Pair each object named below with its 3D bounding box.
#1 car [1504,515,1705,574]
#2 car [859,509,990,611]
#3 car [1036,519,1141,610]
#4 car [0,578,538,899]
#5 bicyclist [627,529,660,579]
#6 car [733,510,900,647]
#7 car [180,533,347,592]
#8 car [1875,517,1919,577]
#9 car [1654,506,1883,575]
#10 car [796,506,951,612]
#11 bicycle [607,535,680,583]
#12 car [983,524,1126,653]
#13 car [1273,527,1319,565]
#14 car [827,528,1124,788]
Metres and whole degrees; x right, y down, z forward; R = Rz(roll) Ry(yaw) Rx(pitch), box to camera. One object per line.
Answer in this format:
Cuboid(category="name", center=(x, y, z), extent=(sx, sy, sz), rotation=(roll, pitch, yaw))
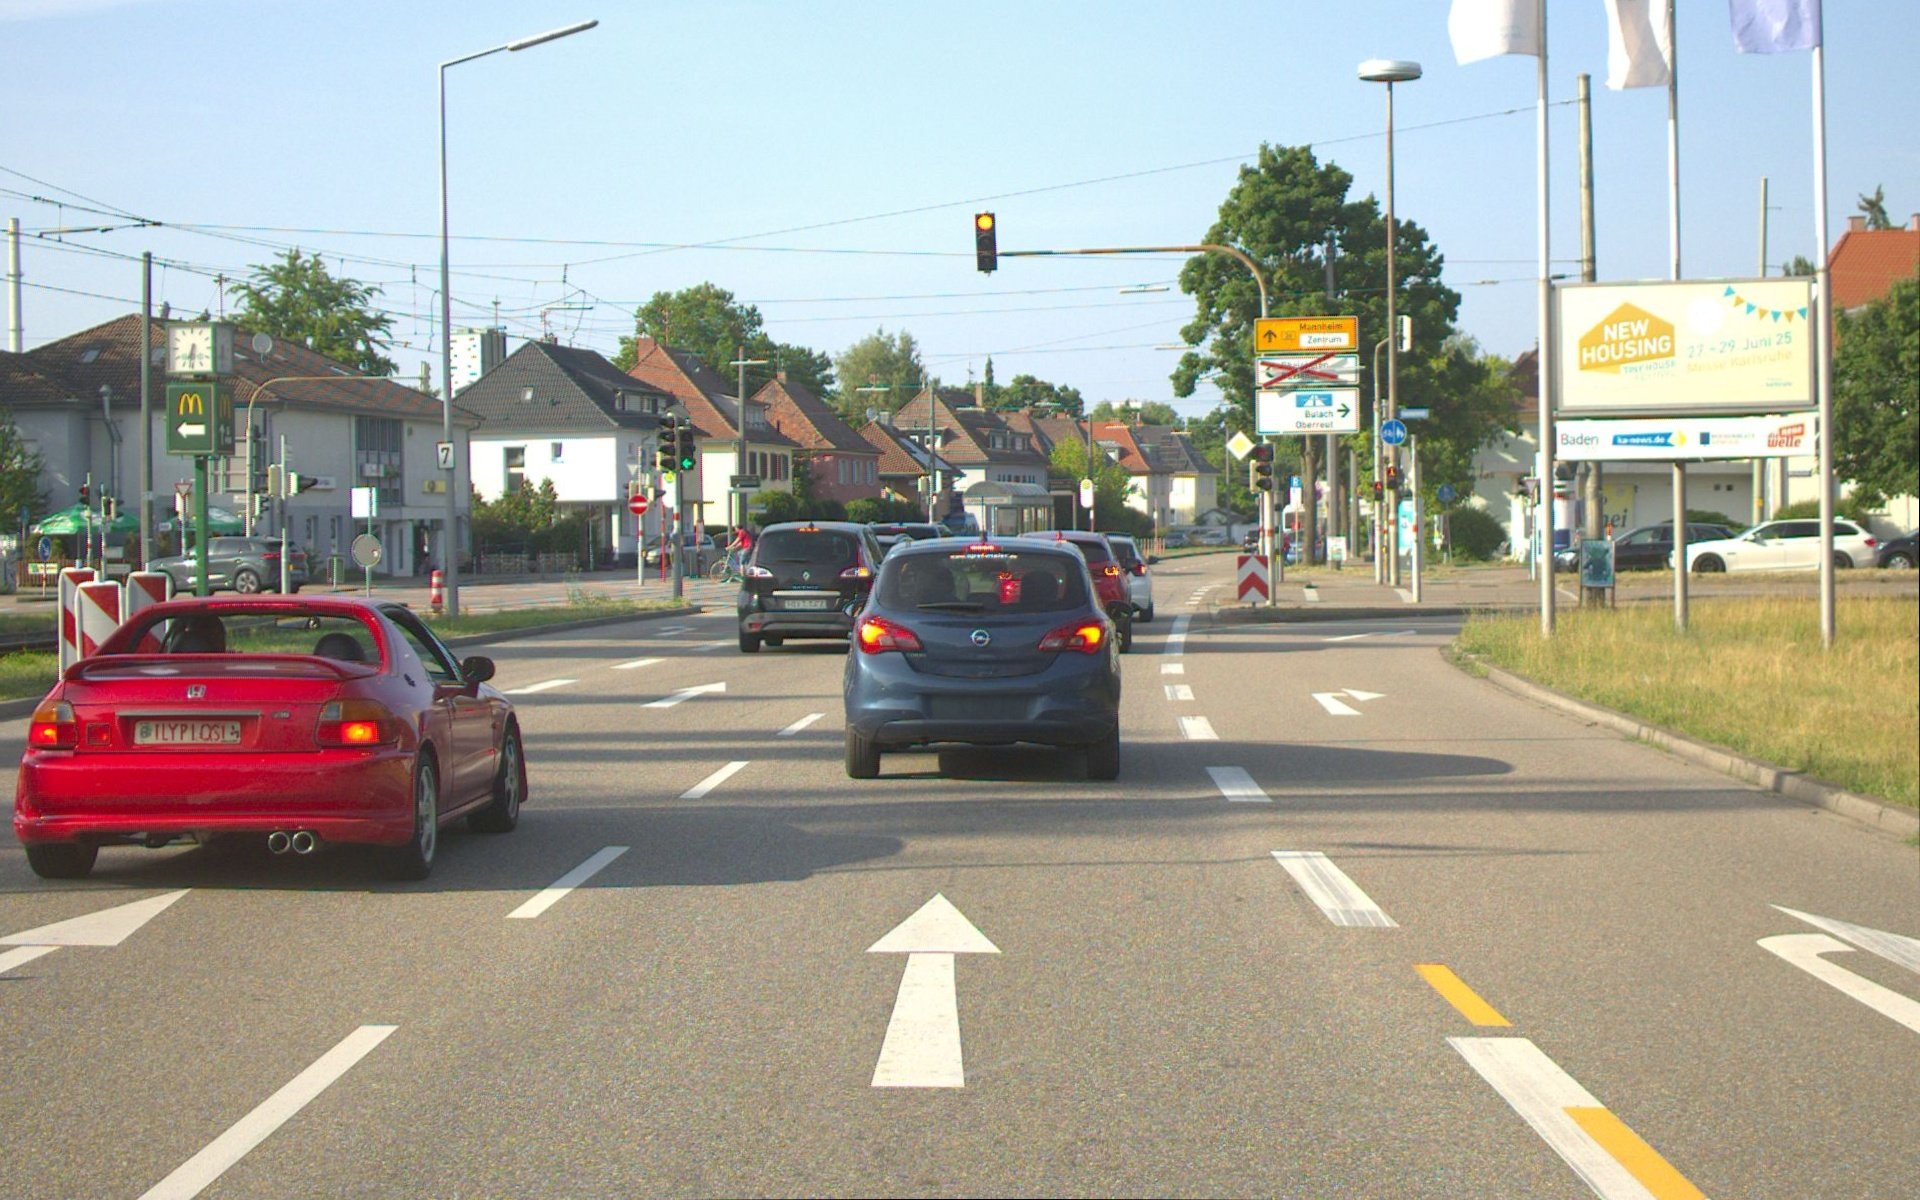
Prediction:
Cuboid(category="car", center=(16.059, -1.382, 85.853), extent=(4.825, 1.406, 1.715), rotation=(-1, 1, 7))
Cuboid(category="car", center=(-0.560, -0.709, 58.634), extent=(1.507, 1.645, 4.743), rotation=(-1, 1, 8))
Cuboid(category="car", center=(2.184, -0.616, 57.703), extent=(1.656, 1.438, 4.014), rotation=(-1, 1, 3))
Cuboid(category="car", center=(-3.084, 0.551, 15.891), extent=(1.731, 1.202, 3.847), rotation=(1, 1, 1))
Cuboid(category="bicyclist", center=(-9.217, -1.333, 100.217), extent=(0.884, 1.426, 1.137), rotation=(1, 0, -3))
Cuboid(category="car", center=(-1.781, -0.305, 43.829), extent=(1.763, 1.665, 4.084), rotation=(0, 1, 3))
Cuboid(category="car", center=(-18.140, -0.966, 89.518), extent=(3.994, 1.481, 1.996), rotation=(0, 1, 33))
Cuboid(category="car", center=(24.763, -1.330, 84.853), extent=(3.988, 1.448, 1.715), rotation=(-1, 1, 7))
Cuboid(category="car", center=(19.207, -1.409, 81.842), extent=(5.096, 1.557, 1.839), rotation=(-1, 1, 7))
Cuboid(category="car", center=(-1.241, -0.640, 51.268), extent=(1.700, 1.503, 4.553), rotation=(0, 1, 6))
Cuboid(category="bicycle", center=(-9.218, -1.190, 100.219), extent=(2.074, 1.343, 1.109), rotation=(1, 0, -3))
Cuboid(category="car", center=(1.249, -0.184, 44.072), extent=(1.706, 1.546, 3.977), rotation=(-1, 1, 3))
Cuboid(category="car", center=(12.809, -2.037, 130.938), extent=(1.675, 1.393, 3.999), rotation=(1, 0, 6))
Cuboid(category="car", center=(0.062, 0.298, 22.400), extent=(1.741, 1.500, 4.223), rotation=(-1, 1, -1))
